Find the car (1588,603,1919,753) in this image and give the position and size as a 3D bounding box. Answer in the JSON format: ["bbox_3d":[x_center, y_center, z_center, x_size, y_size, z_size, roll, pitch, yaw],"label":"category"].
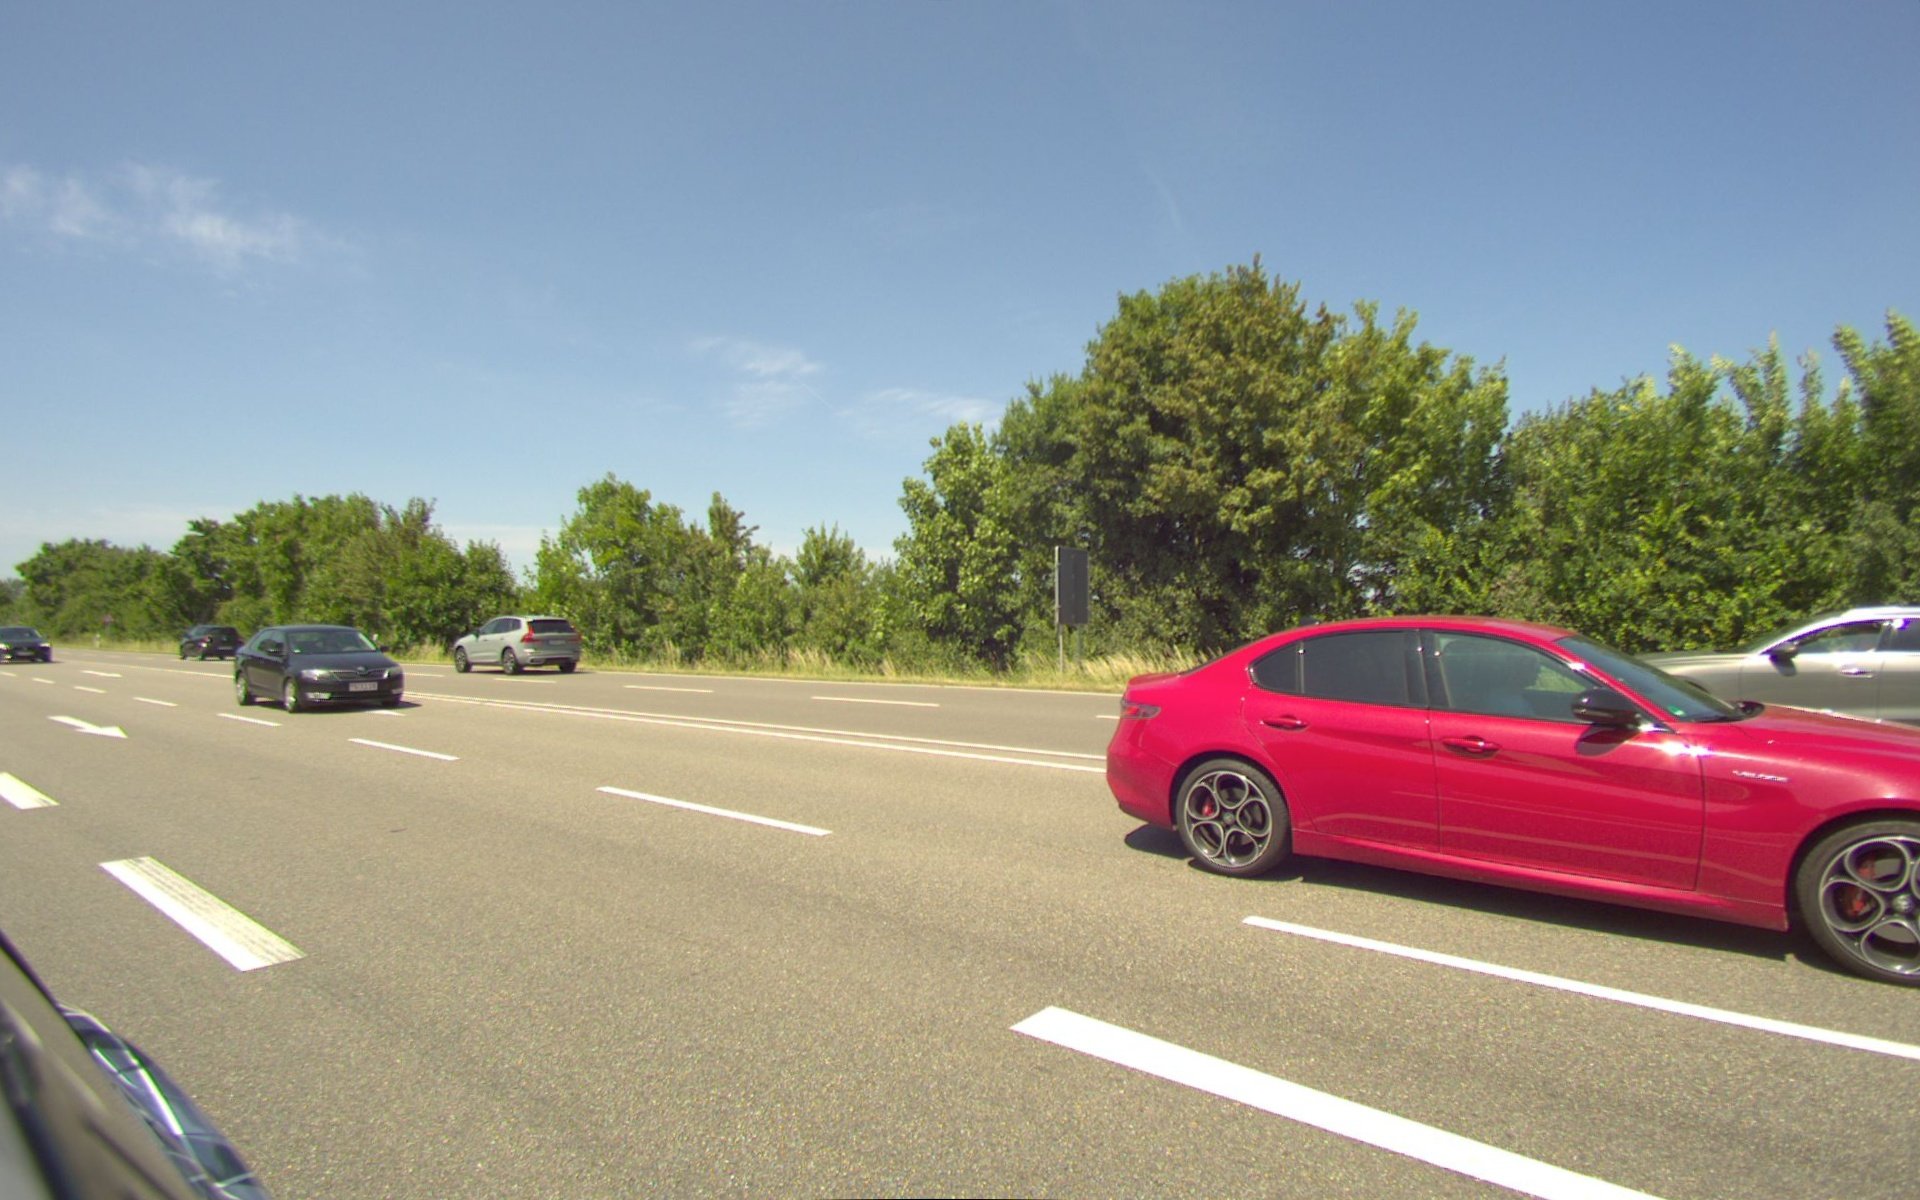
[{"bbox_3d":[9.306,0.752,10.509,4.526,1.409,1.860,-2,-1,39],"label":"car"}]

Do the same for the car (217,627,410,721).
[{"bbox_3d":[-11.514,1.209,17.897,4.464,1.422,1.657,-1,-1,40],"label":"car"}]

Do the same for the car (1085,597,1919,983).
[{"bbox_3d":[3.071,0.750,5.347,4.562,1.432,1.731,-2,-1,40],"label":"car"}]

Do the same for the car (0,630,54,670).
[{"bbox_3d":[-37.499,1.927,39.985,4.521,1.458,1.870,-1,-1,40],"label":"car"}]

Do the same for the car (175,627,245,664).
[{"bbox_3d":[-33.121,1.980,44.647,3.554,1.499,1.629,-1,-1,39],"label":"car"}]

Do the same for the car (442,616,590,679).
[{"bbox_3d":[-12.805,1.307,29.076,4.563,1.652,2.008,-1,-1,39],"label":"car"}]
